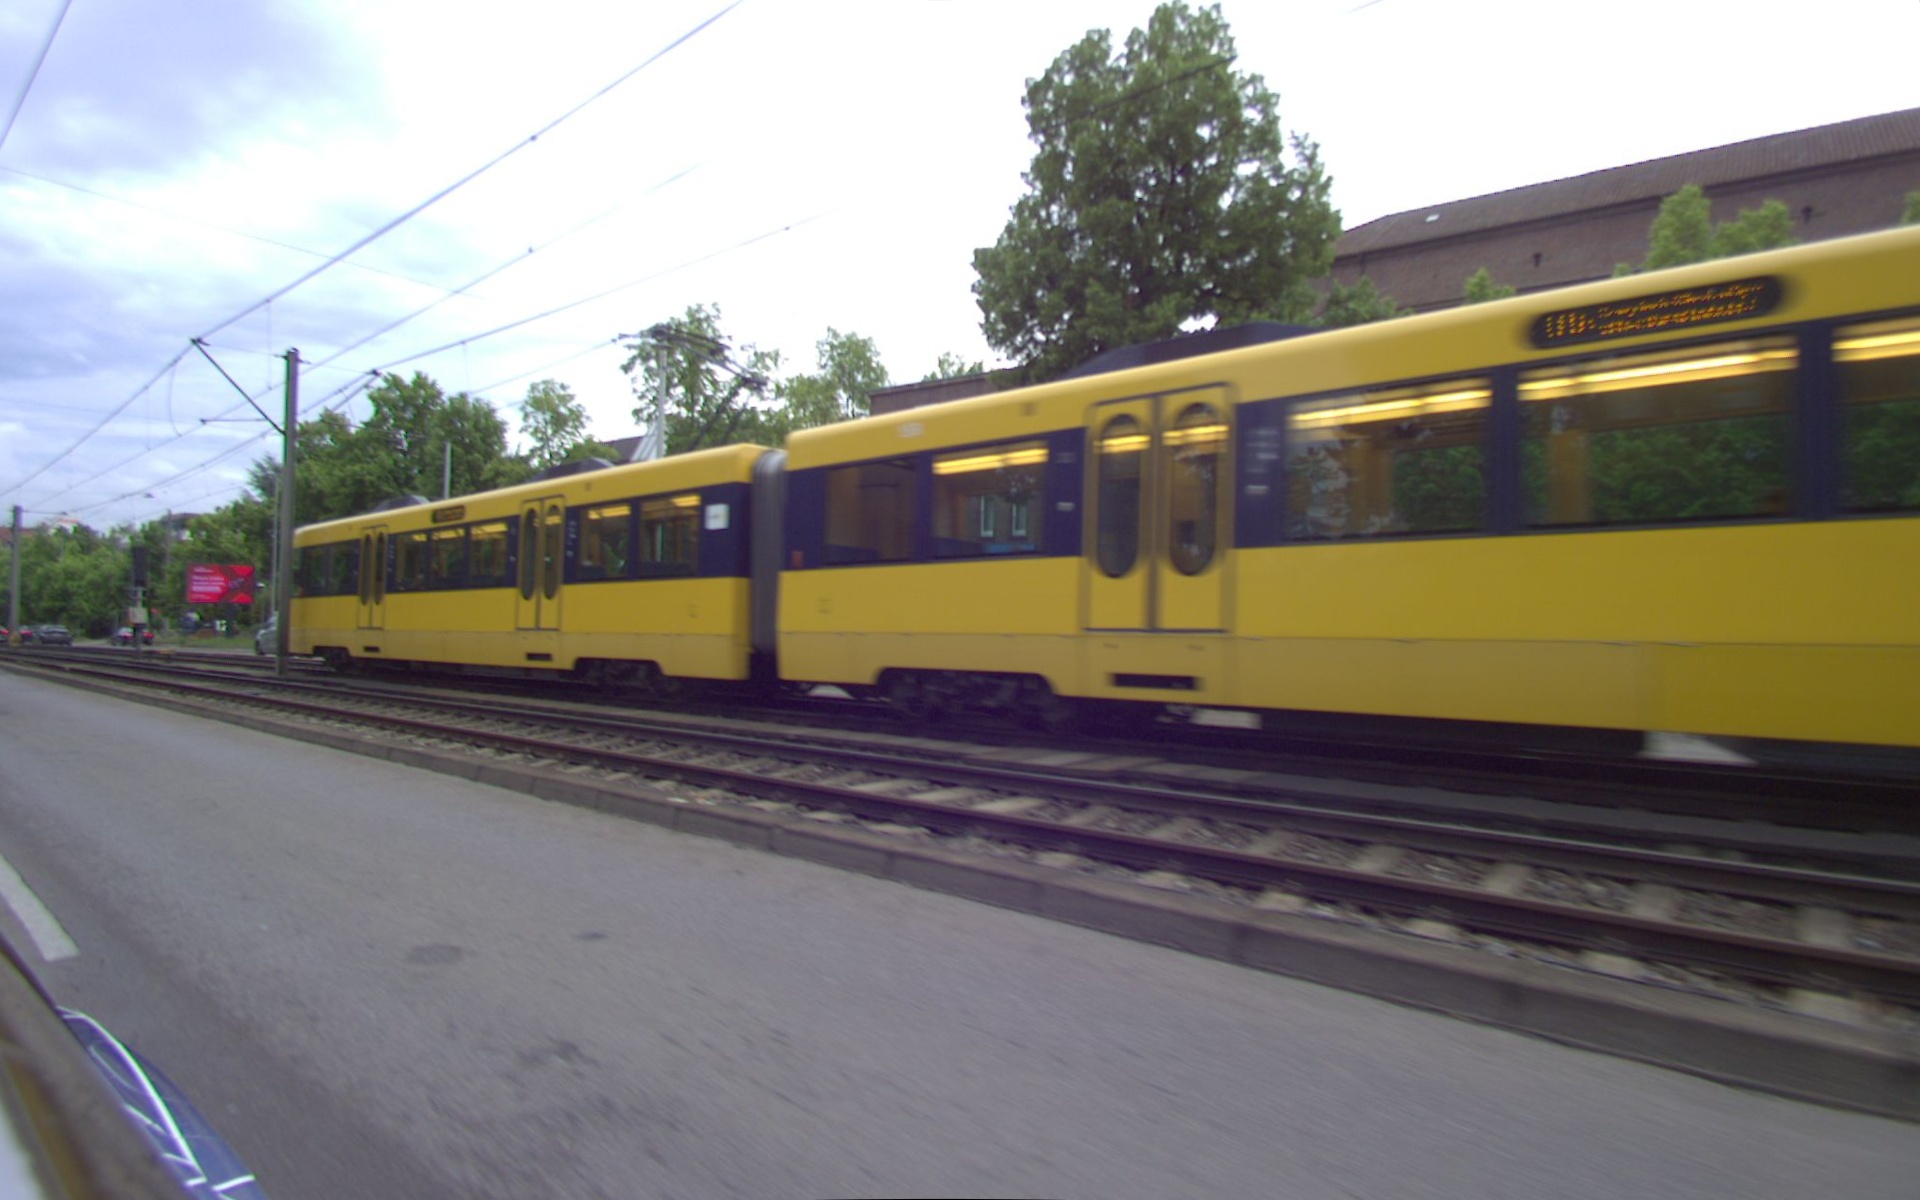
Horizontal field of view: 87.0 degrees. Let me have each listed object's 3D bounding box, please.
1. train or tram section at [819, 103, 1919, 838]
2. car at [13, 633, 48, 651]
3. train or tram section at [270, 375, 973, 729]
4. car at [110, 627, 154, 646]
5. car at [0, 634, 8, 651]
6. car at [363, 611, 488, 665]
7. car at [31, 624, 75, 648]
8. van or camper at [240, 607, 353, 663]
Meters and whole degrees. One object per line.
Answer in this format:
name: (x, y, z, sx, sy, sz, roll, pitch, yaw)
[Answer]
train or tram section: (6.081, -0.691, 6.621, 17.864, 4.006, 2.799, -1, -2, 41)
car: (-83.903, 3.772, 91.304, 4.337, 1.523, 1.747, -1, -2, 40)
train or tram section: (-8.280, -0.373, 19.076, 20.016, 4.006, 2.799, -1, -2, 41)
car: (-66.398, 2.914, 81.127, 4.337, 1.513, 1.933, -1, -2, 40)
car: (-83.471, 3.620, 87.140, 4.337, 1.404, 1.670, -1, -2, 40)
car: (-16.465, 1.143, 31.092, 4.499, 1.544, 1.769, -1, -2, 39)
car: (-63.809, 2.517, 71.191, 4.337, 1.650, 1.670, -1, -2, 40)
van or camper: (-25.070, 1.290, 38.156, 5.687, 1.974, 1.895, -1, -2, 39)
